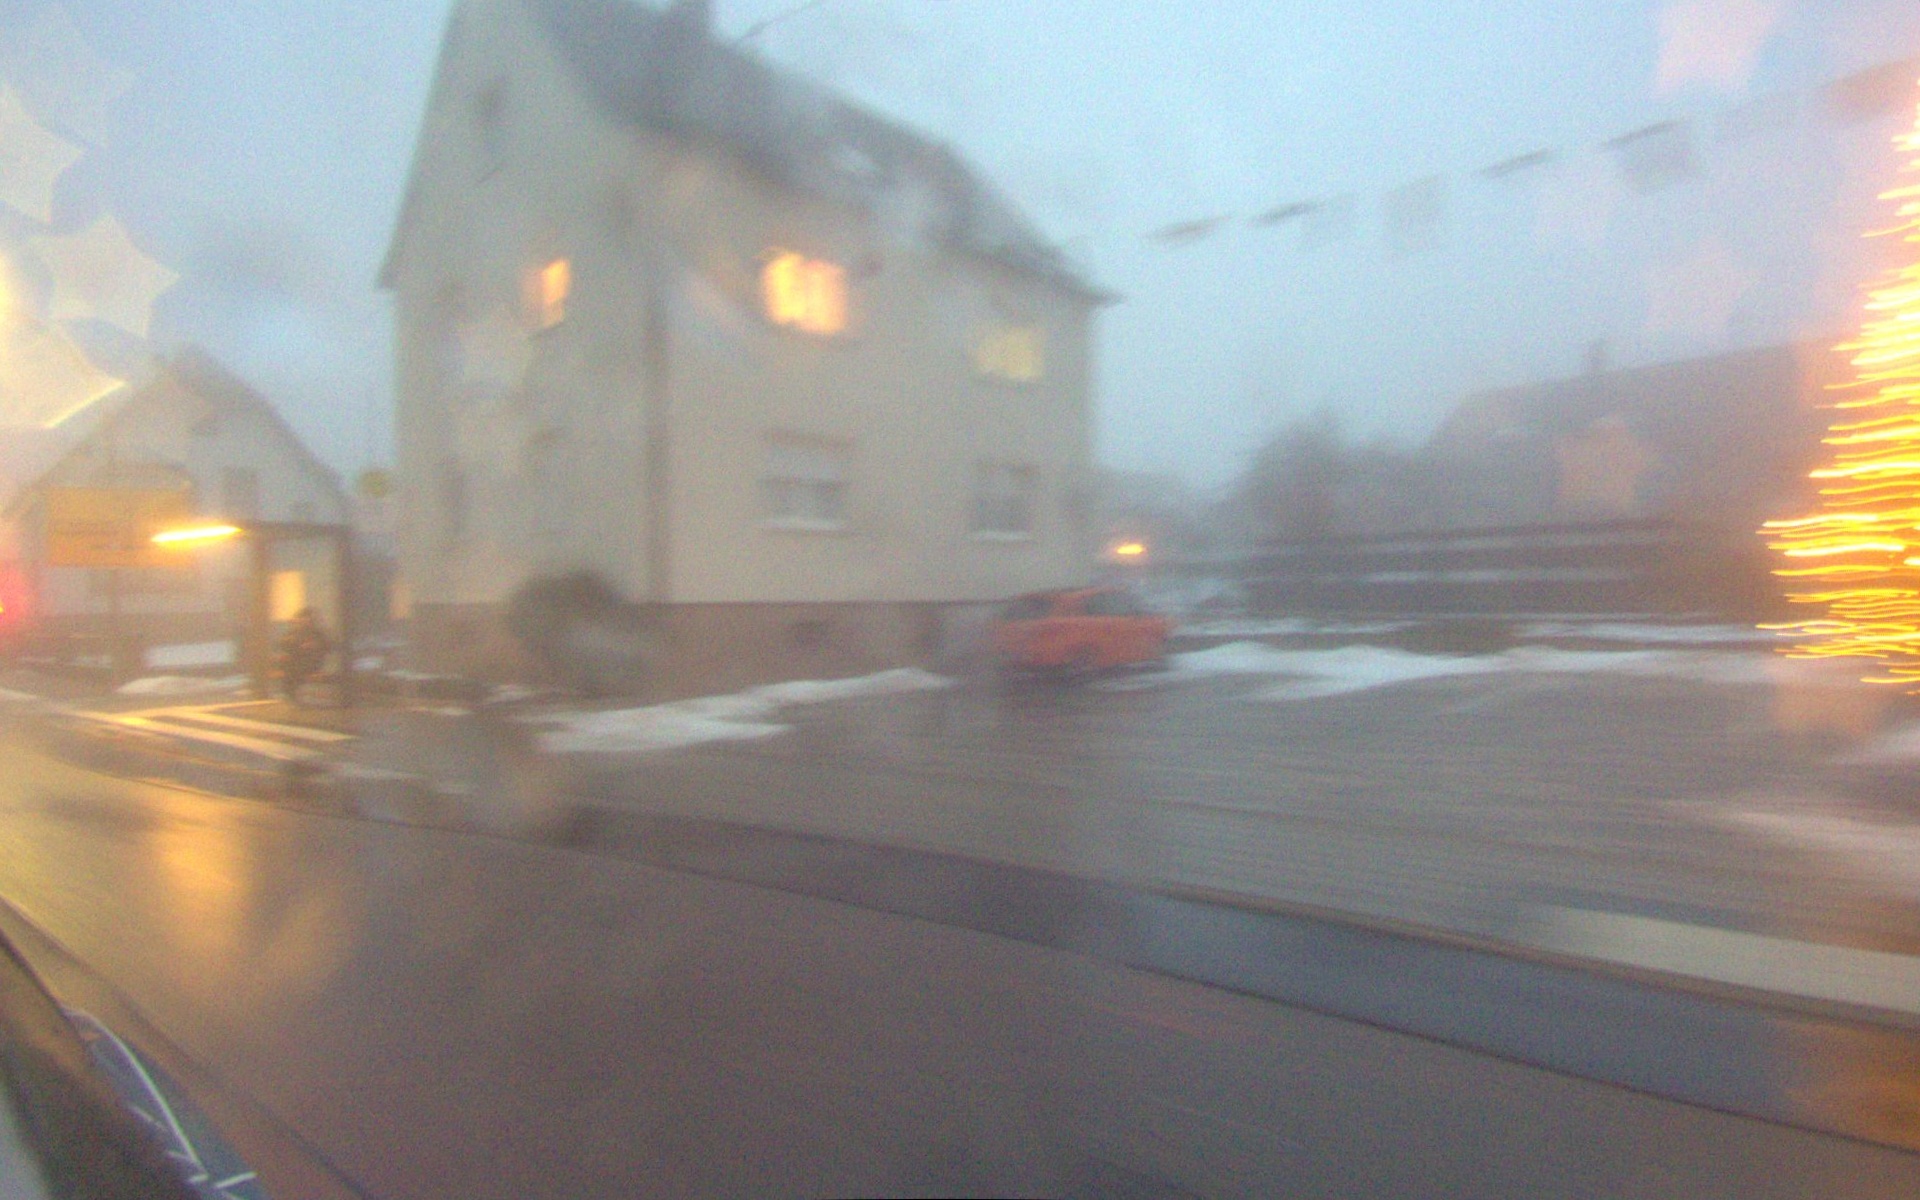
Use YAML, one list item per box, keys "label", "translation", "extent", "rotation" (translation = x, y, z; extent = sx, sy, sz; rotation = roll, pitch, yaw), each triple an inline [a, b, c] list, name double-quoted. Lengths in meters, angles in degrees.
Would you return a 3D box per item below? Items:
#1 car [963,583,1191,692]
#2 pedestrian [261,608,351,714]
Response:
- label: "car"
  translation: [1.897, 0.495, 15.552]
  extent: [1.625, 1.383, 3.736]
  rotation: [-1, 1, 41]
- label: "pedestrian"
  translation: [-8.738, 0.796, 13.531]
  extent: [0.659, 1.339, 0.800]
  rotation: [-2, 1, 38]
